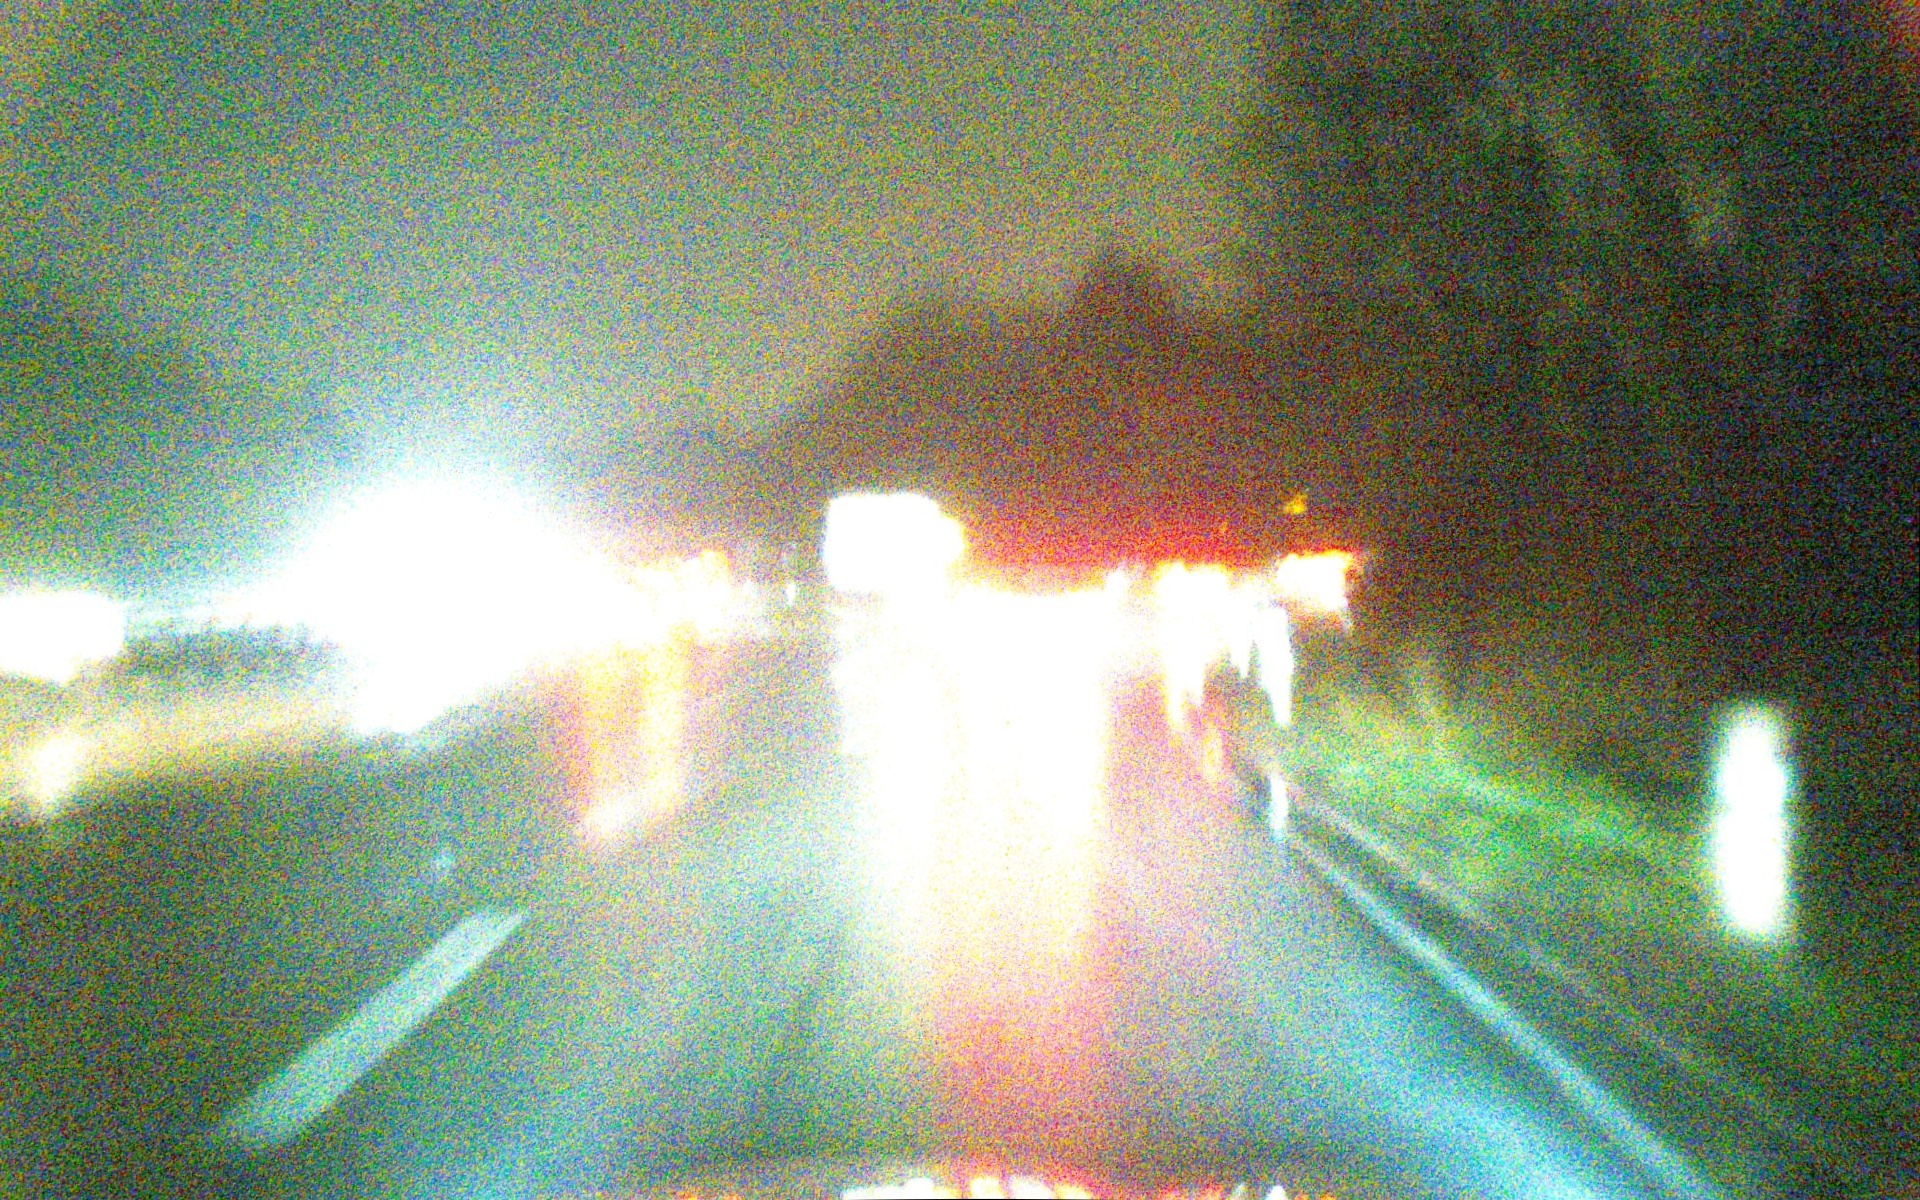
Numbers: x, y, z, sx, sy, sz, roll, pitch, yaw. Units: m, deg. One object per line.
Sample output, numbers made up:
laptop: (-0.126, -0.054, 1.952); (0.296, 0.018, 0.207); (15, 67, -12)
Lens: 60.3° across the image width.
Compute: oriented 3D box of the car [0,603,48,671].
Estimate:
car: (-22.070, 0.824, 36.681); (1.749, 1.500, 3.888); (-1, 0, -5)

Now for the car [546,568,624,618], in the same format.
car: (-12.427, -0.240, 55.053); (1.733, 1.543, 4.911); (-1, 0, -4)

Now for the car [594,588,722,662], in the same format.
car: (-6.092, 0.488, 33.791); (1.922, 1.405, 4.048); (0, 0, -1)

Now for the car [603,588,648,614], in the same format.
car: (-20.996, 0.045, 103.991); (1.853, 1.577, 4.001); (-1, 0, 3)

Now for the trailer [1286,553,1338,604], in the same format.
trailer: (15.515, -0.869, 72.550); (2.034, 2.049, 10.656); (-1, 0, 13)

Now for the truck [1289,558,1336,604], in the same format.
truck: (16.663, -0.864, 78.097); (2.026, 2.049, 4.885); (-1, 0, 13)
